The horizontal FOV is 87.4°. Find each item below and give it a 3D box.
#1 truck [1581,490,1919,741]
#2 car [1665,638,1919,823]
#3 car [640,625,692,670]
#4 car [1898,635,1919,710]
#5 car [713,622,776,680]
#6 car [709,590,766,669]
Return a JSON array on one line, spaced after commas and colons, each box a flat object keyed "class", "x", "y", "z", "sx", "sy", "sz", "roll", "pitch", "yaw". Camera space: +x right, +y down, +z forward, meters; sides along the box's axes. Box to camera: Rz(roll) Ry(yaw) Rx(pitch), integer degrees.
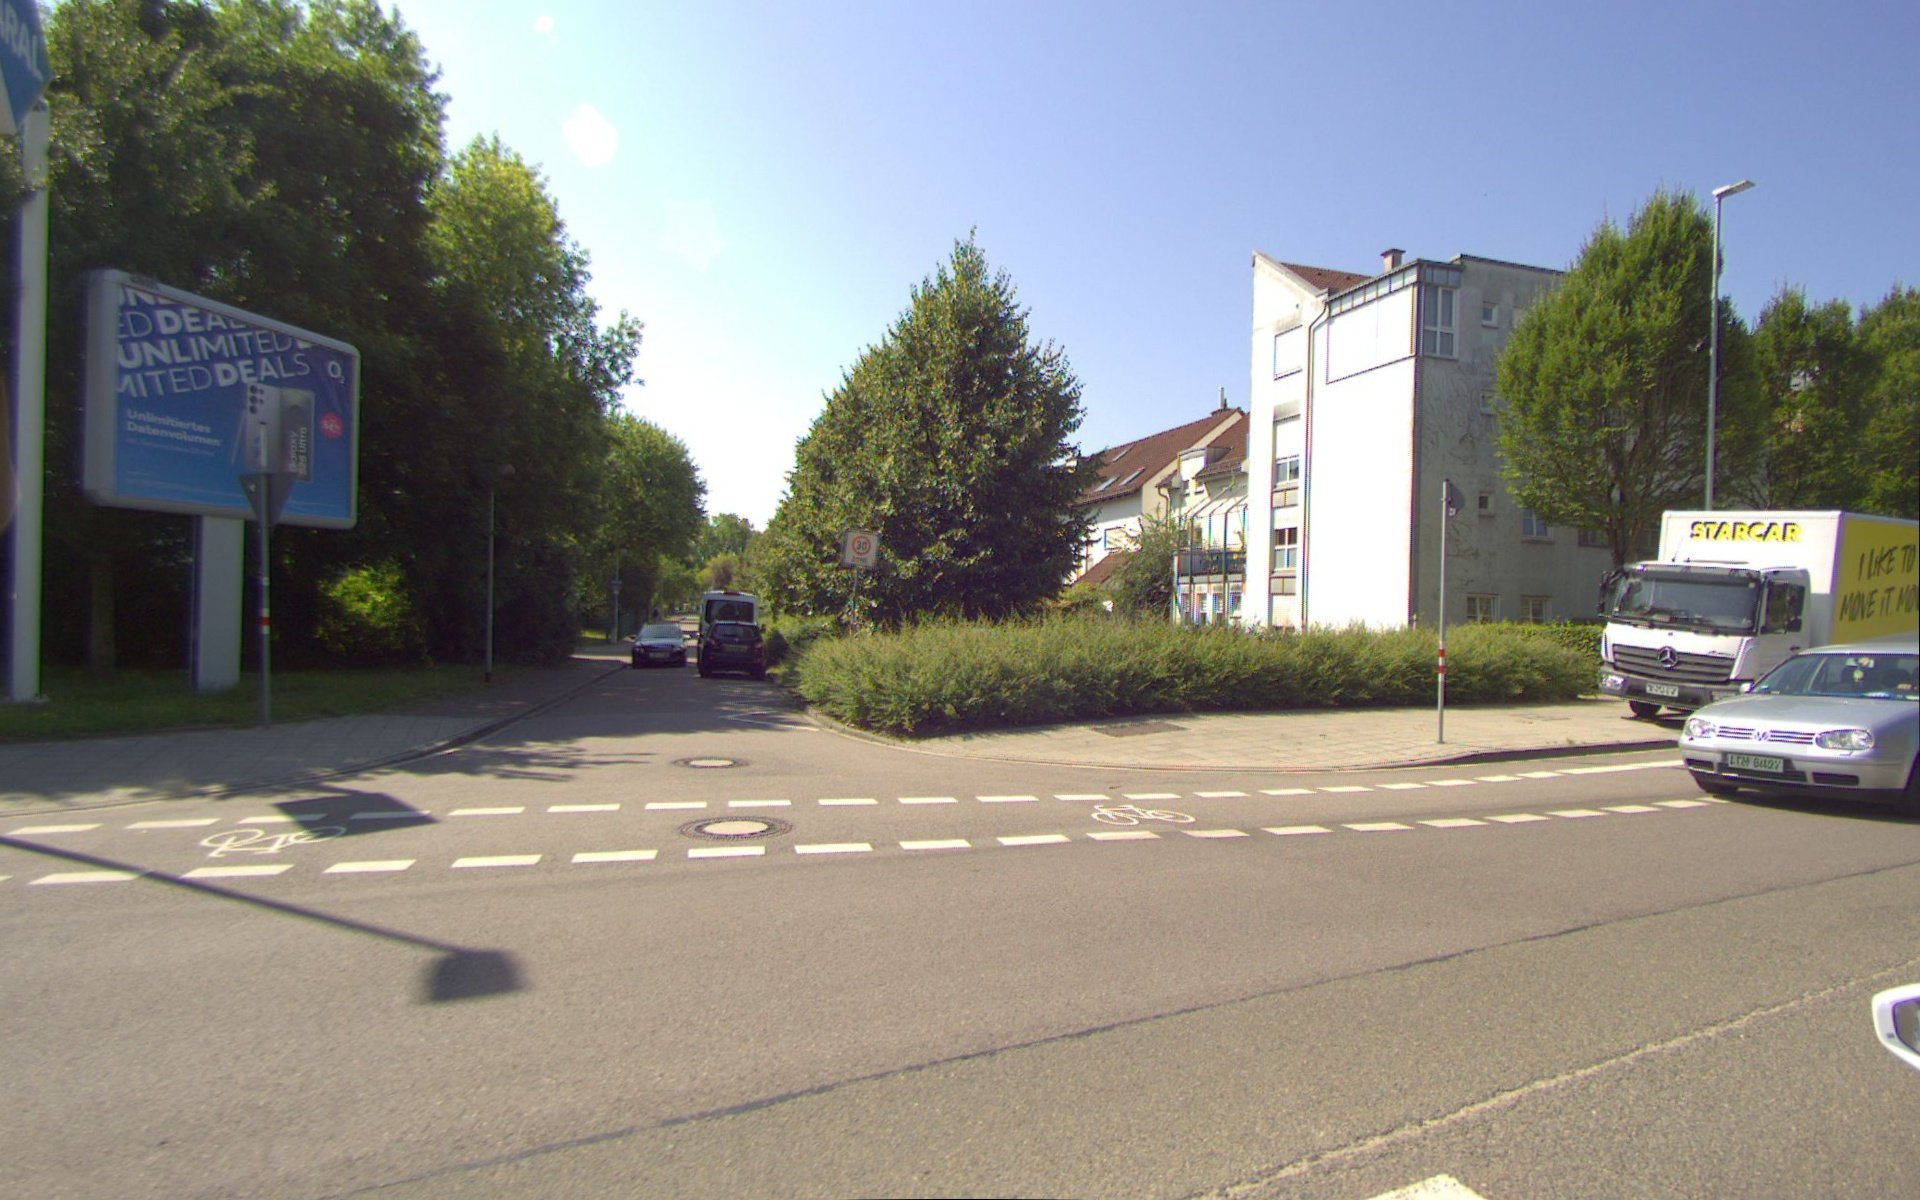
[{"class": "truck", "x": 14.772, "y": 0.301, "z": 17.443, "sx": 8.479, "sy": 3.577, "sz": 2.657, "roll": 2, "pitch": 1, "yaw": -27}, {"class": "car", "x": 8.823, "y": 1.108, "z": 9.514, "sx": 4.252, "sy": 1.439, "sz": 1.654, "roll": 2, "pitch": -2, "yaw": -25}, {"class": "car", "x": -10.147, "y": 1.623, "z": 34.841, "sx": 1.605, "sy": 1.379, "sz": 3.988, "roll": 2, "pitch": -1, "yaw": -15}, {"class": "car", "x": 21.262, "y": 1.549, "z": 20.796, "sx": 3.591, "sy": 1.503, "sz": 1.602, "roll": 2, "pitch": 1, "yaw": -29}, {"class": "car", "x": -6.248, "y": 1.425, "z": 28.906, "sx": 1.632, "sy": 1.503, "sz": 3.601, "roll": 1, "pitch": -1, "yaw": -14}, {"class": "car", "x": -7.784, "y": 1.004, "z": 35.005, "sx": 1.757, "sy": 2.572, "sz": 4.176, "roll": 1, "pitch": -1, "yaw": -13}]
